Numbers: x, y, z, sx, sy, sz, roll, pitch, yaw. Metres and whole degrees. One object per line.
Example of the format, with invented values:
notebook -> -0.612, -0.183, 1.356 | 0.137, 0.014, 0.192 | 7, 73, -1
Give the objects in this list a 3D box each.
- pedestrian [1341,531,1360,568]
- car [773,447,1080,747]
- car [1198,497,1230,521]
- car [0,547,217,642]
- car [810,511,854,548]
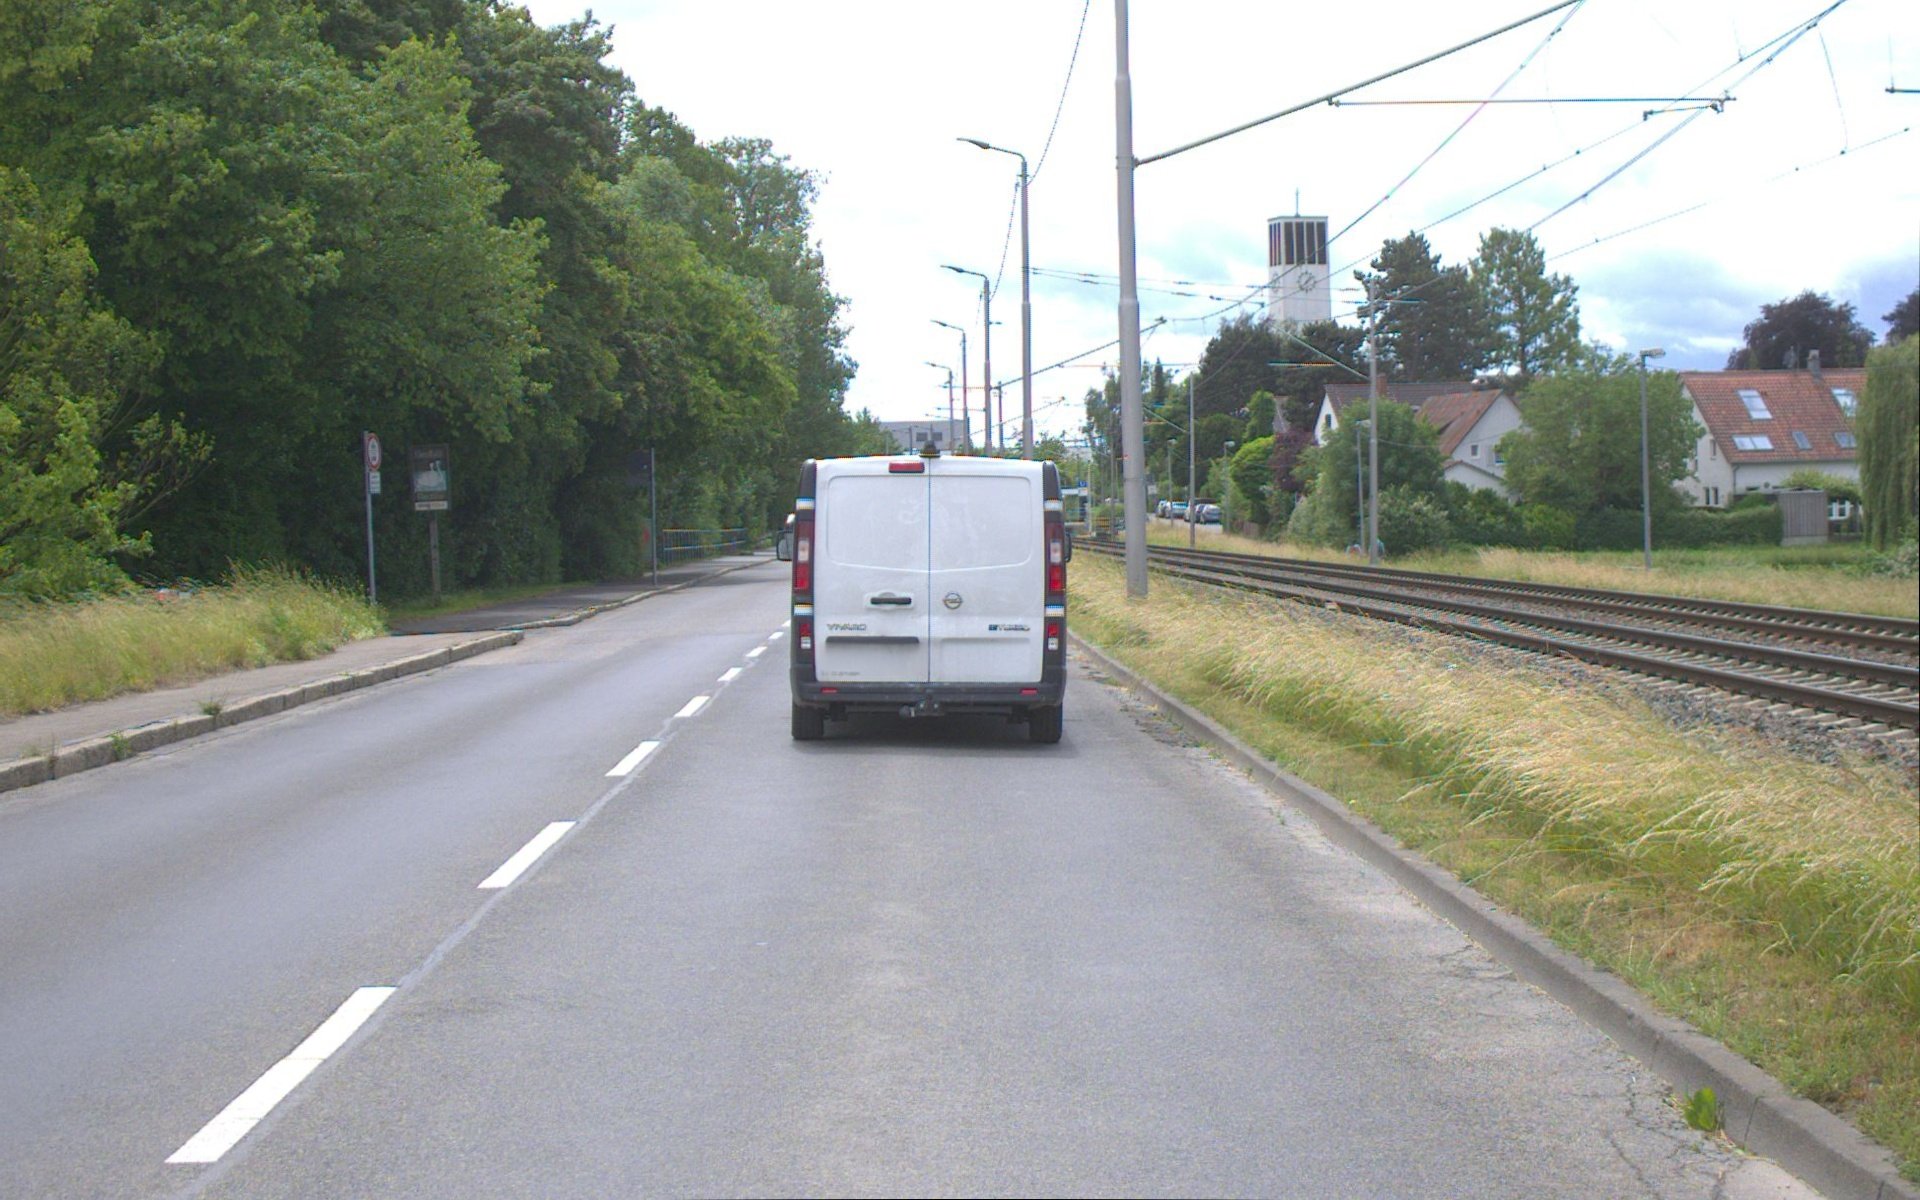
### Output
pedestrian -> 15.917, -2.062, 140.152 | 0.656, 1.501, 0.657 | -1, 1, -1
car -> -0.283, -0.065, 24.397 | 1.993, 1.950, 4.001 | 0, 1, -2
car -> 19.087, -6.844, 258.675 | 1.993, 1.711, 4.000 | 1, 0, -2
car -> -13.704, -0.071, 53.114 | 3.987, 1.294, 1.745 | -3, 1, 1
car -> -6.070, -3.336, 162.374 | 1.993, 1.711, 4.124 | -1, 1, -3
